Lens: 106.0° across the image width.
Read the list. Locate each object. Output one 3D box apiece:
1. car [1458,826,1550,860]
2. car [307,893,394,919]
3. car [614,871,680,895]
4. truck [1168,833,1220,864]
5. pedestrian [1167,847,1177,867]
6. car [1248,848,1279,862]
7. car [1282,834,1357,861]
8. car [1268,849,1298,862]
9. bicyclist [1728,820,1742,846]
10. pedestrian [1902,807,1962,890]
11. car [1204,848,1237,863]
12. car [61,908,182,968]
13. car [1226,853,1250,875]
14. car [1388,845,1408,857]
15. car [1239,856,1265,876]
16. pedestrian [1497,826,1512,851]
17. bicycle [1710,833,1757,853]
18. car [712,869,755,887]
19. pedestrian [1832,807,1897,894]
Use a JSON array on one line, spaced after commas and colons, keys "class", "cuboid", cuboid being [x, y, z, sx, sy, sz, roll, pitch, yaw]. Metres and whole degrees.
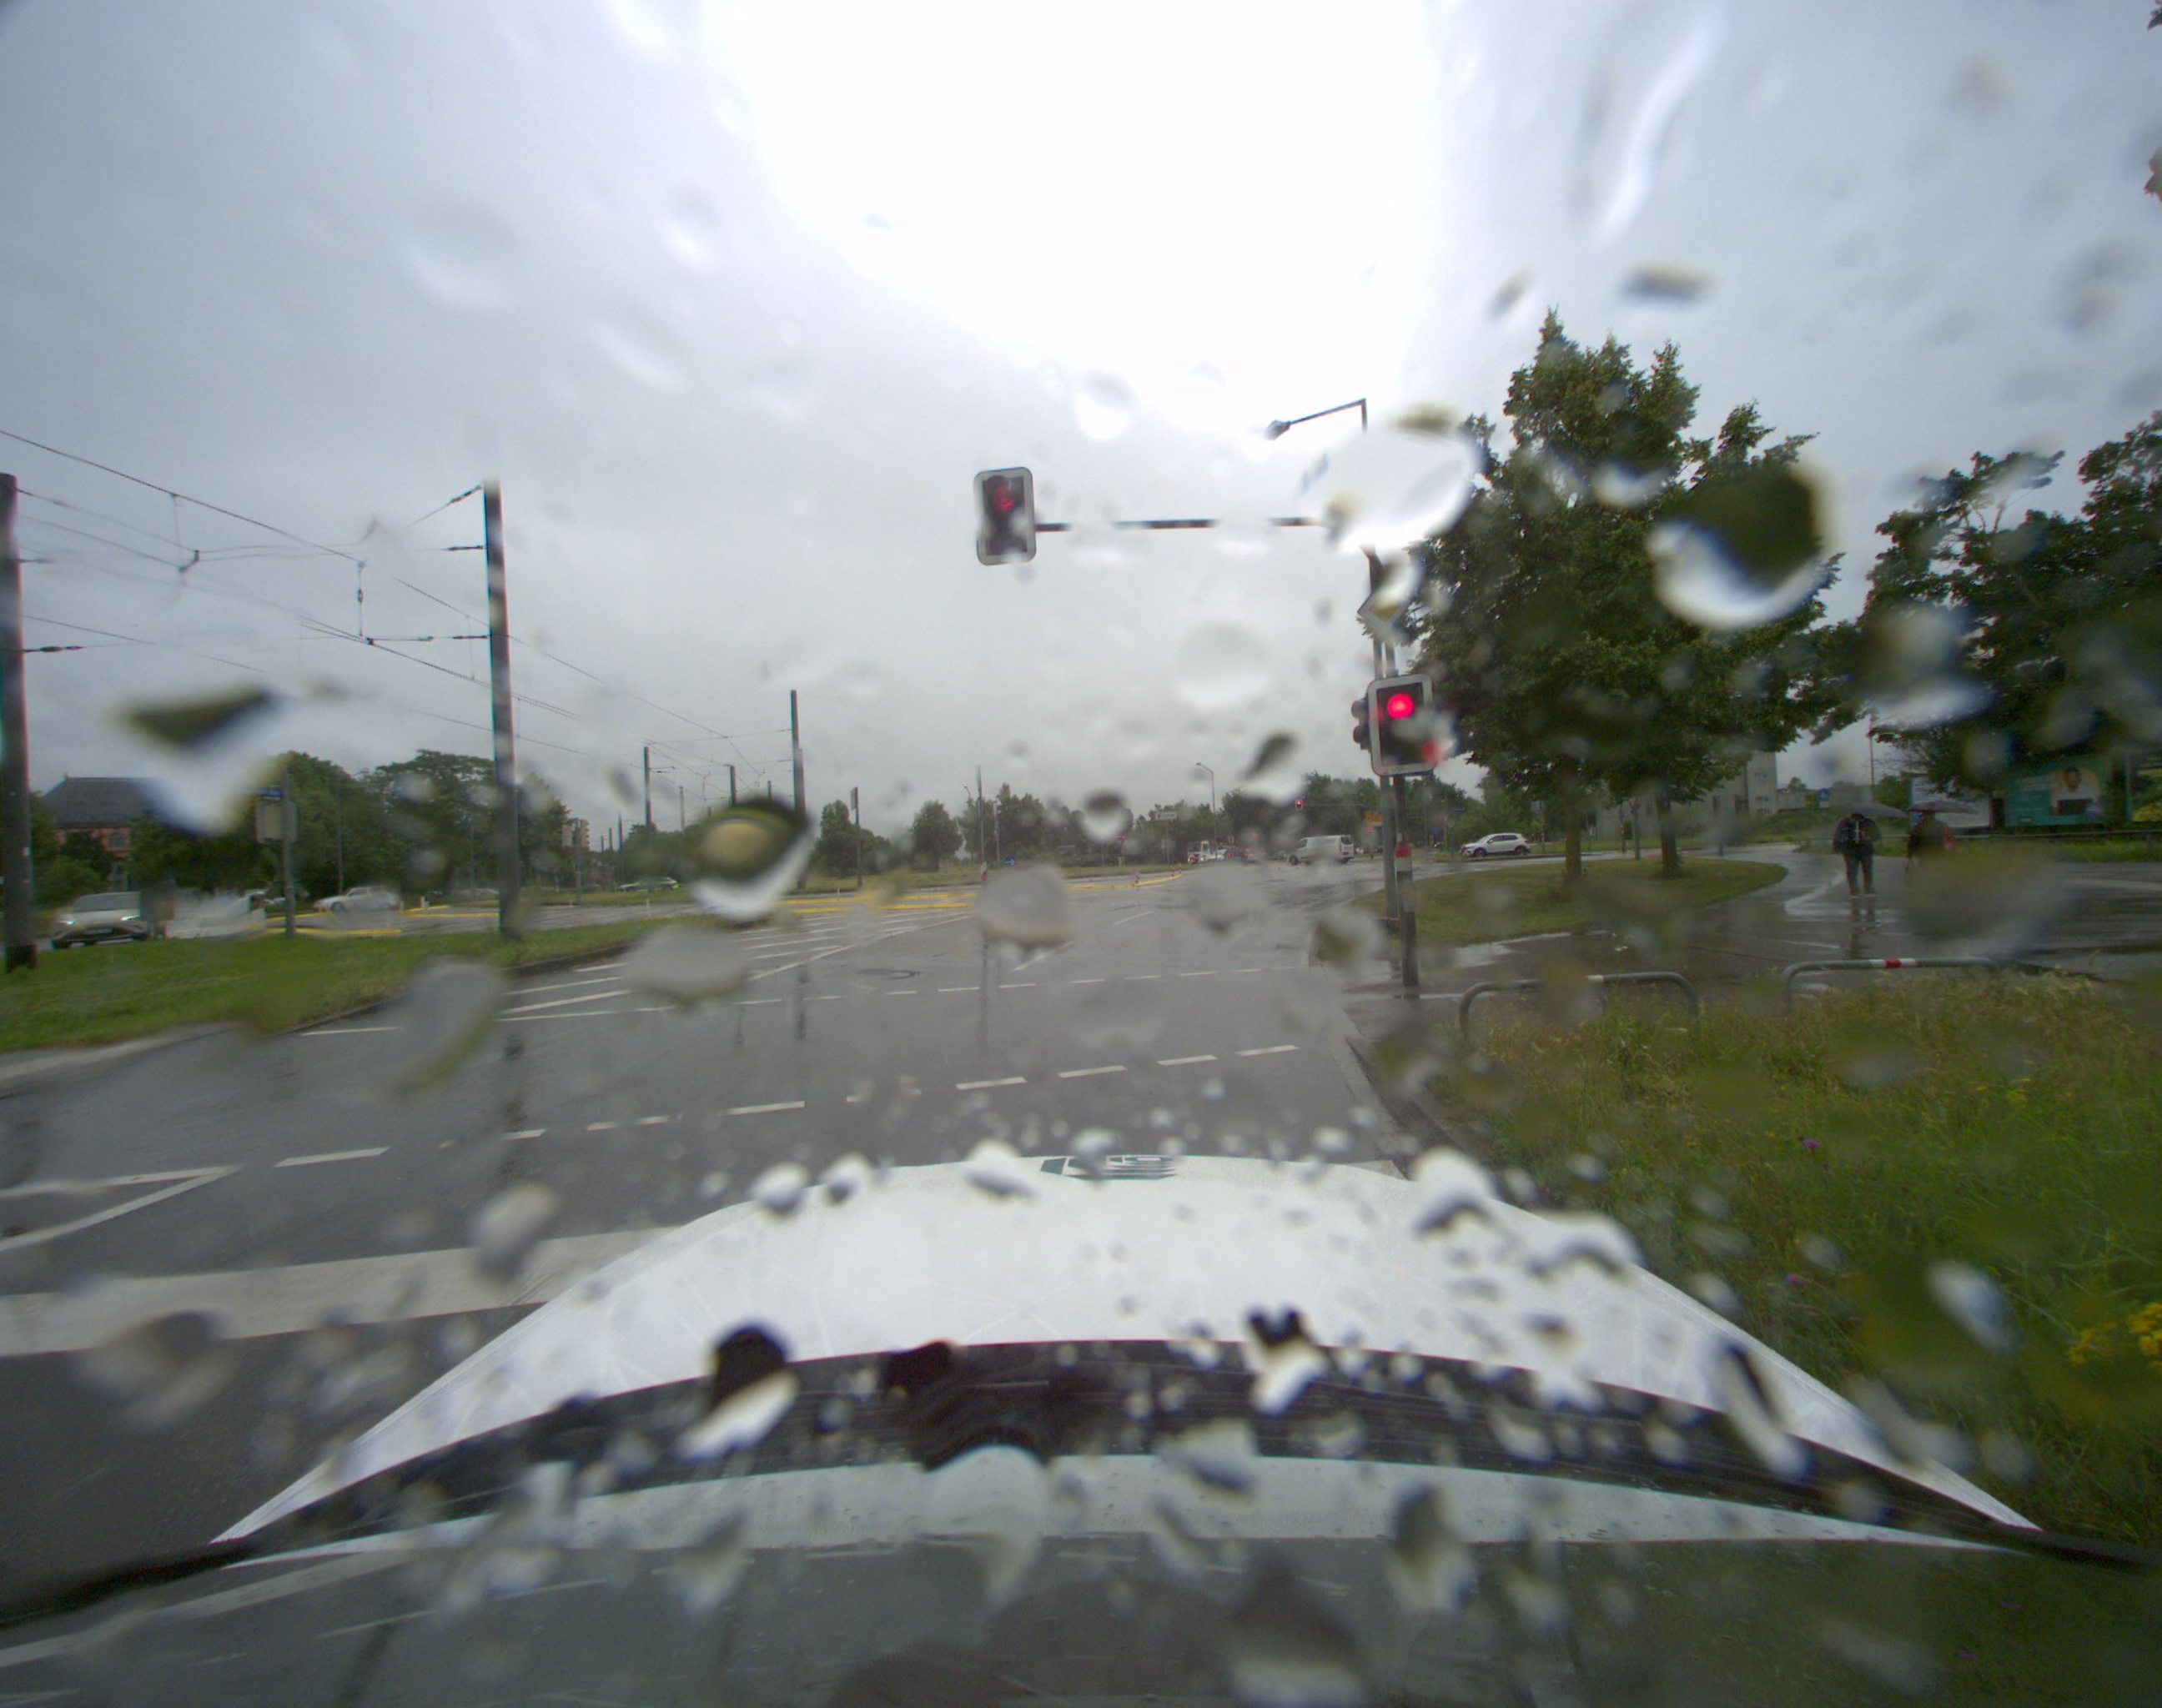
[{"class": "car", "cuboid": [26.849, -0.688, 51.825, 4.735, 1.851, 2.004, -3, 0, 6]}, {"class": "car", "cuboid": [-49.119, 3.462, 54.813, 1.602, 1.454, 4.013, -3, 0, 30]}, {"class": "car", "cuboid": [-38.083, 2.511, 71.517, 4.802, 1.851, 1.976, -2, 0, -42]}, {"class": "truck", "cuboid": [10.403, -0.411, 74.039, 2.439, 2.686, 8.105, -1, -1, 25]}, {"class": "pedestrian", "cuboid": [6.063, 0.225, 54.331, 0.448, 1.304, 0.489, -3, -1, 40]}, {"class": "car", "cuboid": [21.849, 0.160, 97.489, 1.779, 1.662, 4.024, -1, -1, 43]}, {"class": "car", "cuboid": [16.946, -0.416, 57.980, 2.011, 1.851, 4.717, 1, -1, -43]}, {"class": "car", "cuboid": [25.280, 0.217, 101.820, 1.779, 1.662, 4.436, -1, -1, 43]}, {"class": "bicyclist", "cuboid": [44.335, -1.399, 55.220, 0.585, 1.742, 0.498, -1, -1, 13]}, {"class": "pedestrian", "cuboid": [15.433, -0.095, 14.776, 0.685, 1.461, 0.567, -3, -2, -34]}, {"class": "car", "cuboid": [16.507, 0.165, 96.189, 1.779, 1.662, 4.159, -1, -1, 43]}, {"class": "car", "cuboid": [-29.027, 2.465, 24.764, 1.632, 1.454, 4.065, -2, 0, -39]}, {"class": "car", "cuboid": [13.683, 0.876, 71.141, 1.981, 1.851, 4.790, 0, -1, 11]}, {"class": "car", "cuboid": [54.271, -0.517, 139.503, 1.974, 2.014, 4.025, -1, -1, 39]}, {"class": "car", "cuboid": [16.162, 1.132, 76.933, 1.978, 1.851, 4.797, -1, -1, 17]}, {"class": "pedestrian", "cuboid": [32.517, -1.205, 62.519, 0.811, 1.868, 0.670, 0, -1, 9]}, {"class": "bicycle", "cuboid": [44.231, -0.708, 55.240, 2.485, 1.314, 0.573, -1, -1, 12]}, {"class": "car", "cuboid": [-36.888, 2.507, 86.525, 1.660, 1.816, 4.025, -1, -1, 31]}, {"class": "pedestrian", "cuboid": [14.194, -0.060, 14.757, 0.625, 1.522, 0.733, 0, -1, -36]}]
